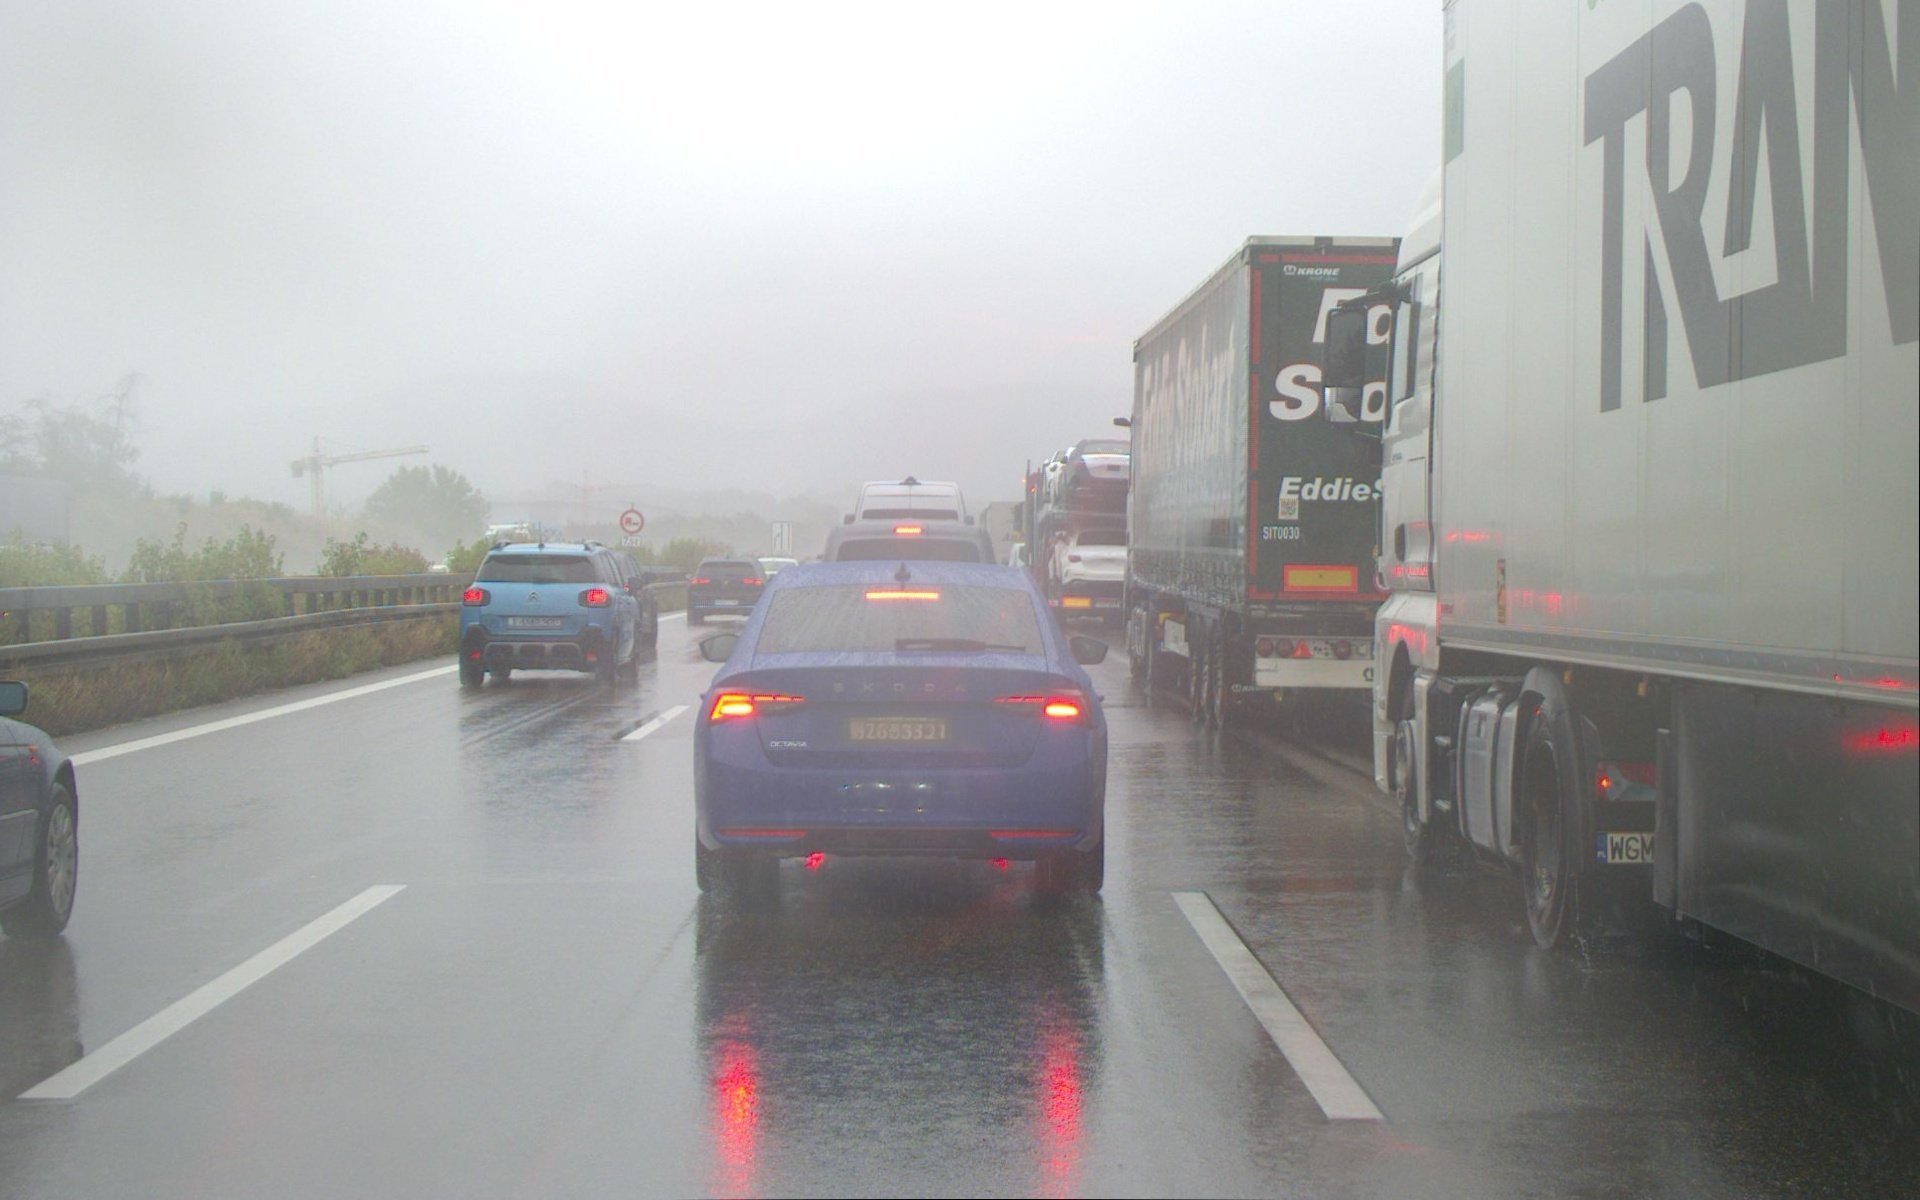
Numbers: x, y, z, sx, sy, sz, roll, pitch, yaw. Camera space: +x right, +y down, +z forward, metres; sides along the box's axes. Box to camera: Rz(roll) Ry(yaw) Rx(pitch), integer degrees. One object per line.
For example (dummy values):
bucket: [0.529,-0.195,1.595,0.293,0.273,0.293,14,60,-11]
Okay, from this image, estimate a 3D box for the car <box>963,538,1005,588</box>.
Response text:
car: [0.852,-1.346,125.150,1.448,1.777,3.409,1,1,0]

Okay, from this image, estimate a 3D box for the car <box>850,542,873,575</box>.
car: [-5.393,-2.289,188.484,1.192,1.744,3.076,0,2,-1]

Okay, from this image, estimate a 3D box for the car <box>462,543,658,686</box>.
car: [-4.478,0.122,38.983,1.722,1.518,4.000,0,1,1]

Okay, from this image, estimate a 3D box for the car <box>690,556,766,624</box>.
car: [-5.048,-0.230,75.033,1.439,1.415,3.322,0,1,0]

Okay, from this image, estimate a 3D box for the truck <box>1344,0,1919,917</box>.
truck: [3.352,-0.746,15.533,2.630,3.814,4.791,0,1,0]

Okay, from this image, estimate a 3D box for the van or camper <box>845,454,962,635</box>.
van or camper: [-0.895,-0.908,55.519,1.797,2.797,4.768,0,1,0]

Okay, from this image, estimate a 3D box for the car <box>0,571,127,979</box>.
car: [-4.183,0.617,11.511,1.718,1.395,4.230,0,1,1]

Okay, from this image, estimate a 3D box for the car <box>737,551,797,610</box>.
car: [-5.160,-0.538,92.308,1.439,1.528,3.322,0,1,0]

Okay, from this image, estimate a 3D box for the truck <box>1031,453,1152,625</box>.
truck: [2.709,-1.333,72.600,1.993,3.410,8.033,0,2,-2]

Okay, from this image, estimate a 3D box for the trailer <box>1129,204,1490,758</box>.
trailer: [2.912,-1.018,31.654,2.047,4.162,11.449,0,1,0]

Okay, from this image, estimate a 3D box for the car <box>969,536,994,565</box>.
car: [1.352,-3.116,216.447,1.448,1.777,3.409,1,1,0]

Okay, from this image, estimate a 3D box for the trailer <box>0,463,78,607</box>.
trailer: [-22.215,-1.450,75.825,2.686,3.141,11.084,1,1,0]

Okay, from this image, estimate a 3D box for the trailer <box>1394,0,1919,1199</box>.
trailer: [3.410,-0.691,8.726,2.630,3.999,14.630,0,1,0]

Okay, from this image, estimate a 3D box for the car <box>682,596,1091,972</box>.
car: [-0.284,0.738,15.813,1.635,1.440,4.000,0,1,0]

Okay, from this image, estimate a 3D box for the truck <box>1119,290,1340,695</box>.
truck: [2.881,-1.158,37.626,2.047,4.178,4.000,0,1,0]

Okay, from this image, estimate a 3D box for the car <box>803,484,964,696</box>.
car: [-0.655,-0.118,30.576,1.336,1.773,3.322,0,1,0]

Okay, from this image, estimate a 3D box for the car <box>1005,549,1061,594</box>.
car: [2.301,-0.915,108.520,1.638,1.323,3.367,0,2,-1]
